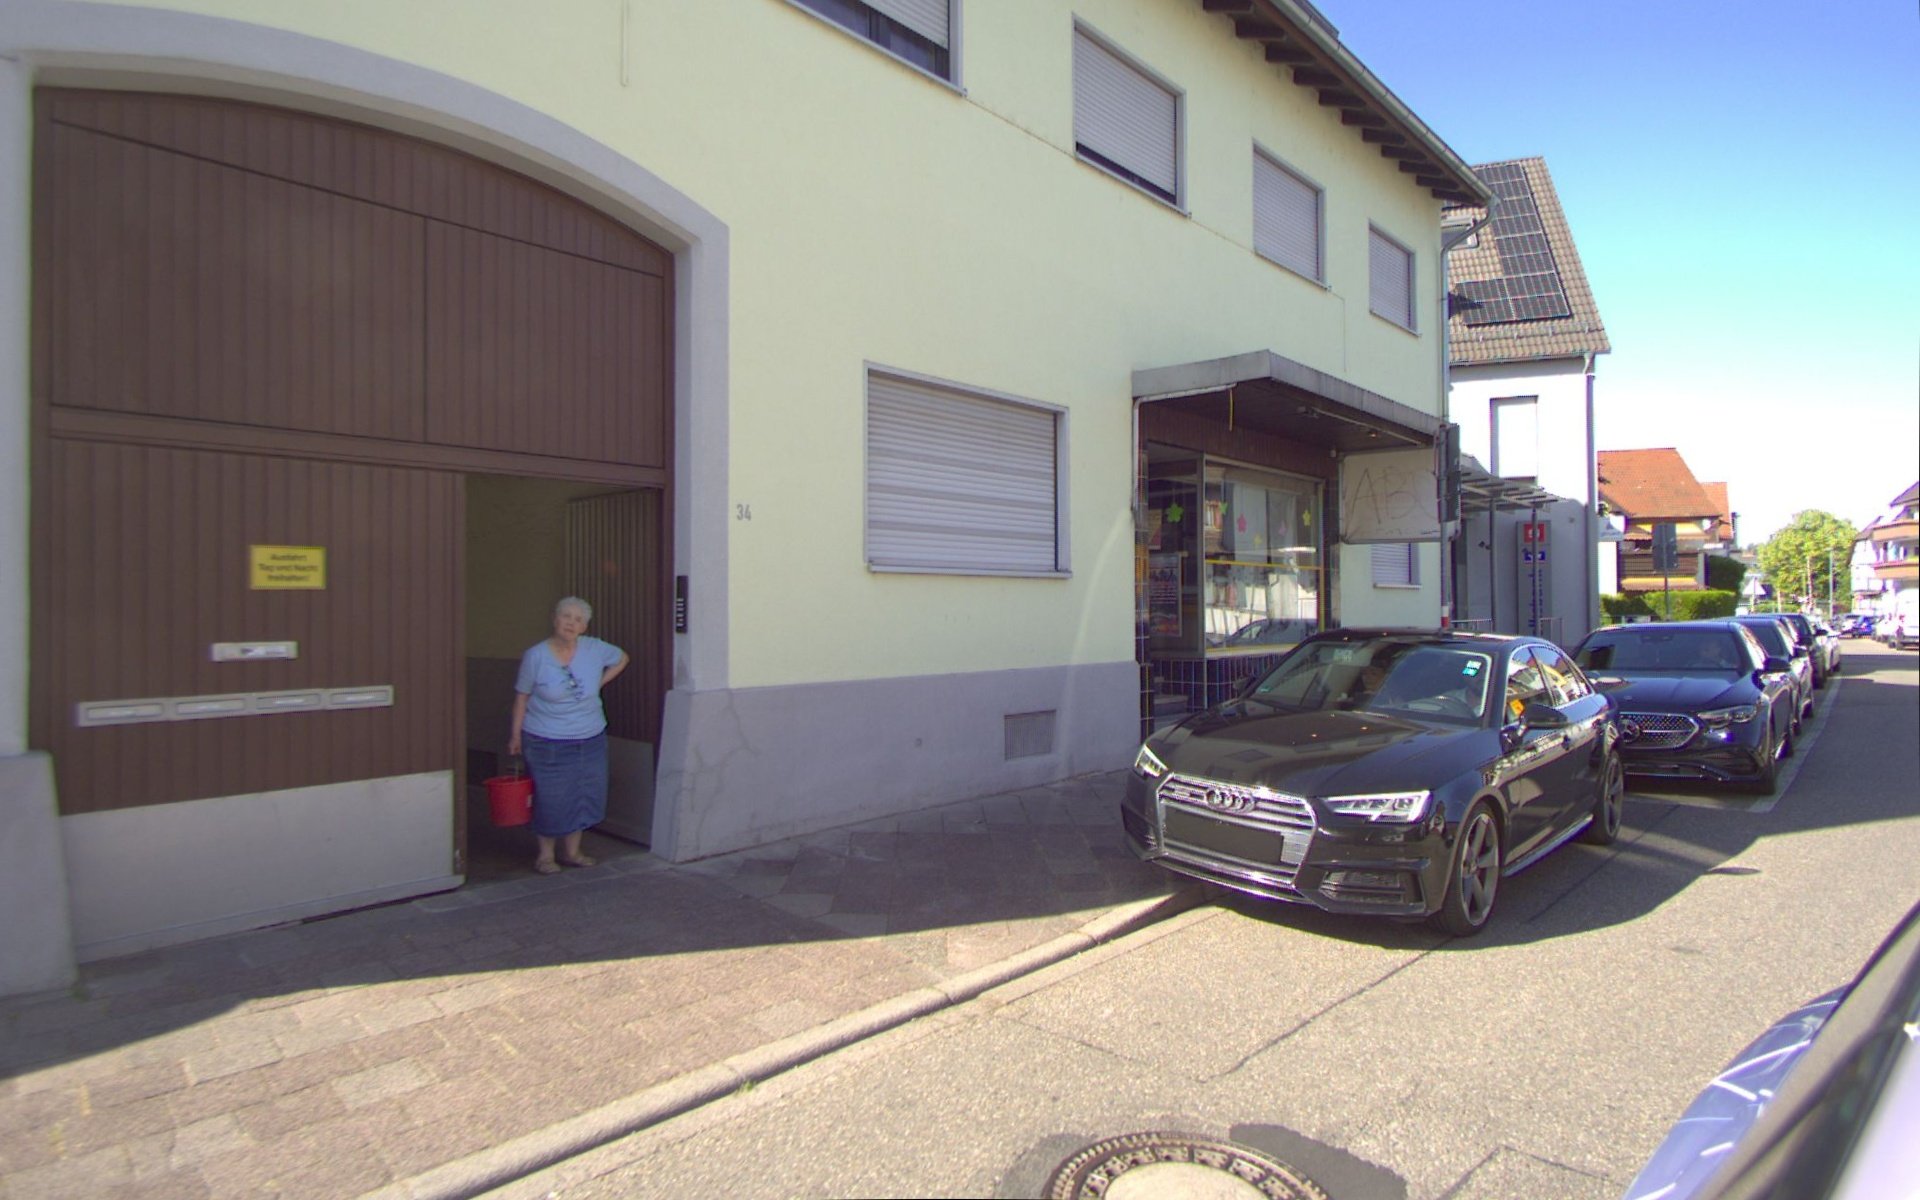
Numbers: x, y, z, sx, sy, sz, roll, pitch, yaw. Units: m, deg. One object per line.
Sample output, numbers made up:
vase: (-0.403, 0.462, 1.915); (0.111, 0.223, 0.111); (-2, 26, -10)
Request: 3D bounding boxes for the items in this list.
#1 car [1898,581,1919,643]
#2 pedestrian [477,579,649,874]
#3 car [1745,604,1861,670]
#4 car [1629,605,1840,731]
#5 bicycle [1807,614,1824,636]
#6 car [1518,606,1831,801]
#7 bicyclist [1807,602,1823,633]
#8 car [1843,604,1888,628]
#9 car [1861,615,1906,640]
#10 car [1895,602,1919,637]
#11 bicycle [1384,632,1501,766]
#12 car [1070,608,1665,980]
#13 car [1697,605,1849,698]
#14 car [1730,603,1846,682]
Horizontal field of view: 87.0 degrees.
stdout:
car: (40.981, 0.503, 42.363); (2.250, 2.502, 5.434); (-1, -1, 40)
pedestrian: (-2.305, 0.684, 5.891); (0.563, 1.572, 0.759); (-2, -2, 41)
car: (21.587, 0.897, 25.846); (4.432, 1.533, 1.846); (1, -2, -45)
car: (10.975, 0.848, 14.216); (1.808, 1.494, 4.373); (-3, -3, 44)
bicycle: (47.732, 1.398, 56.466); (0.637, 1.197, 1.991); (-2, -2, 41)
car: (7.342, 0.844, 10.169); (1.808, 1.494, 4.766); (-3, -3, 44)
bicyclist: (47.699, 0.977, 56.445); (0.641, 1.686, 0.596); (-2, -2, 42)
car: (62.553, 1.091, 69.964); (1.752, 1.576, 3.950); (0, -1, 34)
car: (57.454, 1.672, 62.994); (1.614, 1.457, 3.904); (-1, -1, 36)
car: (47.043, 0.947, 49.298); (1.718, 1.639, 4.057); (0, -1, 37)
bicycle: (4.666, 0.904, 9.747); (1.482, 1.172, 0.508); (1, -2, -44)
car: (2.900, 0.826, 6.441); (1.808, 1.494, 4.766); (-3, -3, 44)
car: (14.627, 0.865, 18.139); (1.725, 1.494, 3.813); (-3, -3, 44)
car: (17.835, 0.868, 21.746); (1.609, 1.540, 3.909); (-3, -3, 43)
